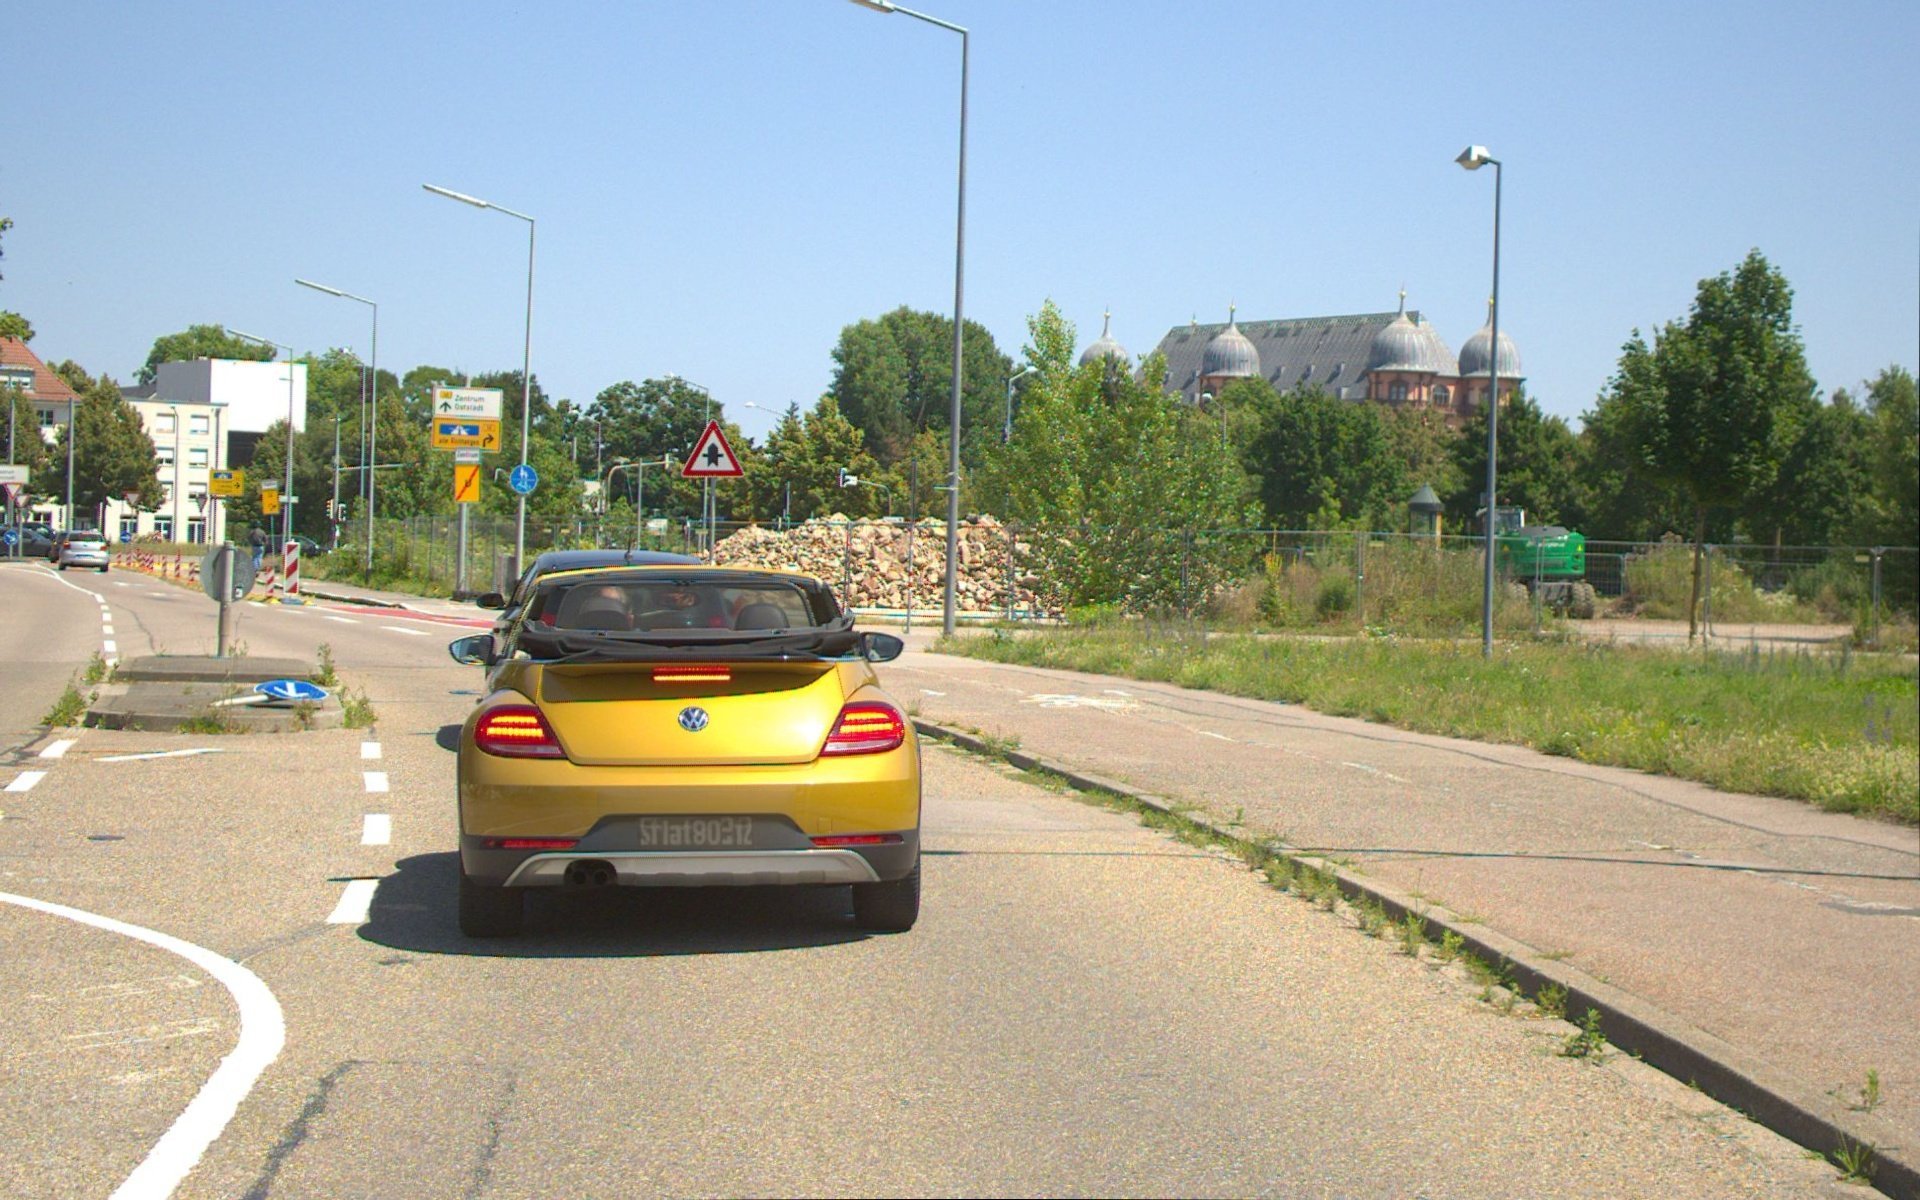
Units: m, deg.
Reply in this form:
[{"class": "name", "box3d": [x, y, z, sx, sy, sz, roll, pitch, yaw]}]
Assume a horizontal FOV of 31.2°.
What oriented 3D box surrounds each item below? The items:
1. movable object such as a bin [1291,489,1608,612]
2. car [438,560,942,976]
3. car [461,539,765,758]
[{"class": "movable object such as a bin", "box3d": [13.914, -1.464, 99.111, 4.937, 3.249, 10.472, 1, 1, -17]}, {"class": "car", "box3d": [-1.182, 0.595, 14.369, 1.789, 1.432, 3.815, 1, 1, -6]}, {"class": "car", "box3d": [-2.620, 0.298, 25.183, 1.726, 1.438, 4.001, 1, 1, -13]}]
